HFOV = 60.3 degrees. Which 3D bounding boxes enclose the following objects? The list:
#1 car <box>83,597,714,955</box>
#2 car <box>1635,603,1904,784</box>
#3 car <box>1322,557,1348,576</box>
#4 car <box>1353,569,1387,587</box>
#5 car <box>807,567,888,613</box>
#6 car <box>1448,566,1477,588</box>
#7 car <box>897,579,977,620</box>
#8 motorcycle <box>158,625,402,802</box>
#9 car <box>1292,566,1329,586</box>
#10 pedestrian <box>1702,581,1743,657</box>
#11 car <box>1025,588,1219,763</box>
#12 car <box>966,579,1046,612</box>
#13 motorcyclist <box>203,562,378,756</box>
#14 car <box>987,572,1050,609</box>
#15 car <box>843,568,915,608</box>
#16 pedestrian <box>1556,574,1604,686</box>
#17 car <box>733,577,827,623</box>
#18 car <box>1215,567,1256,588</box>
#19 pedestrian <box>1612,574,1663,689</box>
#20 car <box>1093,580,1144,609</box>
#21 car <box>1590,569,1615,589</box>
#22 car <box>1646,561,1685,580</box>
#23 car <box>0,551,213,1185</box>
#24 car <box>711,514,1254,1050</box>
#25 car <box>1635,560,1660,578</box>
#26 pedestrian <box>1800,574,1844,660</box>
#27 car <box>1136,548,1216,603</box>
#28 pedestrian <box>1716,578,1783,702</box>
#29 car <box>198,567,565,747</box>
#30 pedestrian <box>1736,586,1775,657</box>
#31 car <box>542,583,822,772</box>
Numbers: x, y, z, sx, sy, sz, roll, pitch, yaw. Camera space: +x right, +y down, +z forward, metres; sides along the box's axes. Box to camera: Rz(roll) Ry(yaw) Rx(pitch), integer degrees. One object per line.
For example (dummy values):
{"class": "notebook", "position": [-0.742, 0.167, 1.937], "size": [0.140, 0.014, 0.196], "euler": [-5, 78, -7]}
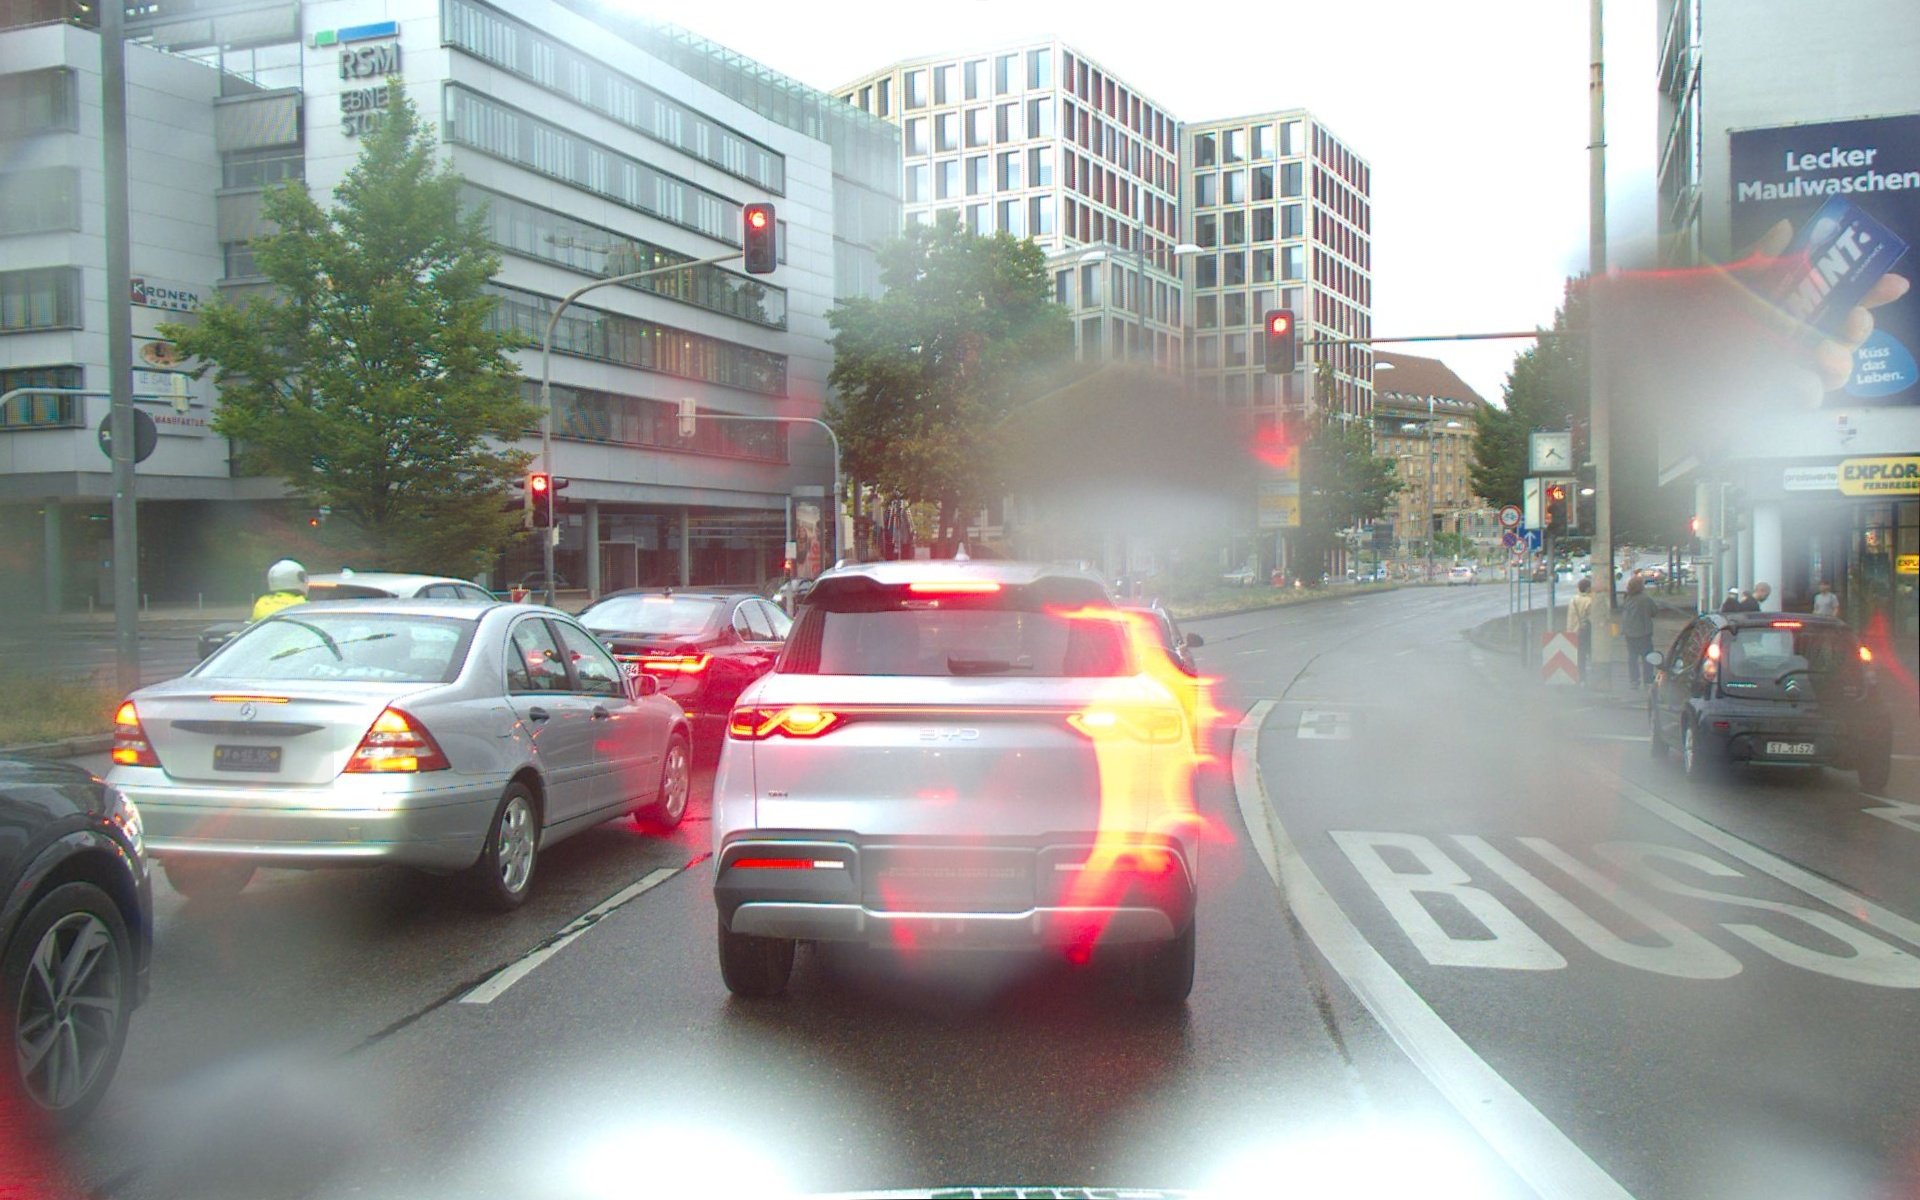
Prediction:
{"class": "car", "position": [-2.627, 0.726, 8.839], "size": [1.537, 1.432, 4.112], "euler": [1, 0, 7]}
{"class": "car", "position": [7.485, 0.781, 15.654], "size": [1.537, 1.454, 4.003], "euler": [1, 0, 15]}
{"class": "car", "position": [37.254, -3.298, 164.227], "size": [1.577, 1.771, 3.437], "euler": [1, 0, 31]}
{"class": "car", "position": [34.767, -1.889, 140.164], "size": [1.955, 1.514, 3.996], "euler": [0, 1, 27]}
{"class": "car", "position": [-3.991, -0.370, 59.360], "size": [1.609, 1.563, 4.155], "euler": [1, 0, 15]}
{"class": "car", "position": [39.325, -1.800, 129.434], "size": [1.849, 1.671, 4.000], "euler": [1, 1, 22]}
{"class": "car", "position": [-0.788, -0.001, 59.034], "size": [1.655, 1.409, 3.870], "euler": [1, 0, 18]}
{"class": "motorcycle", "position": [-5.135, 0.812, 12.666], "size": [0.783, 1.205, 2.030], "euler": [1, 0, 8]}
{"class": "car", "position": [27.864, -1.911, 131.515], "size": [1.955, 1.514, 3.996], "euler": [0, 1, 27]}
{"class": "pedestrian", "position": [17.130, 0.410, 37.139], "size": [0.659, 1.684, 0.649], "euler": [1, 0, 43]}
{"class": "car", "position": [1.741, 0.676, 16.655], "size": [1.657, 1.512, 4.003], "euler": [1, 0, 10]}
{"class": "car", "position": [2.302, -0.234, 81.352], "size": [1.779, 1.536, 5.189], "euler": [0, 1, 28]}
{"class": "motorcyclist", "position": [-5.102, 0.434, 12.679], "size": [0.753, 1.404, 1.119], "euler": [1, 0, 8]}
{"class": "car", "position": [2.671, -0.441, 74.546], "size": [1.610, 1.608, 4.086], "euler": [1, 0, 21]}
{"class": "car", "position": [-3.359, -0.499, 69.041], "size": [1.605, 1.598, 3.718], "euler": [1, 0, 22]}
{"class": "pedestrian", "position": [10.285, 0.481, 27.460], "size": [0.733, 1.829, 0.817], "euler": [0, 1, 20]}
{"class": "car", "position": [-6.668, -0.029, 61.767], "size": [1.952, 1.639, 4.001], "euler": [1, 1, 20]}
{"class": "car", "position": [20.535, -1.656, 123.084], "size": [1.955, 1.514, 3.996], "euler": [0, 1, 27]}
{"class": "pedestrian", "position": [11.017, 0.496, 26.908], "size": [0.733, 1.829, 0.817], "euler": [0, 1, 20]}
{"class": "car", "position": [9.059, -0.316, 94.294], "size": [1.598, 1.586, 4.592], "euler": [0, 1, 23]}
{"class": "car", "position": [68.401, -2.247, 176.162], "size": [2.376, 2.049, 4.578], "euler": [1, 1, 21]}
{"class": "car", "position": [77.956, -3.253, 182.756], "size": [3.908, 2.049, 1.998], "euler": [1, 0, 26]}
{"class": "car", "position": [-3.134, 0.653, 3.014], "size": [1.614, 1.548, 4.271], "euler": [1, 1, 0]}
{"class": "car", "position": [0.117, 0.595, 7.366], "size": [1.739, 1.708, 4.000], "euler": [1, 0, 1]}
{"class": "car", "position": [62.900, -2.817, 151.300], "size": [1.662, 1.512, 3.993], "euler": [1, 0, 29]}
{"class": "pedestrian", "position": [18.698, 0.356, 35.878], "size": [0.659, 1.825, 0.768], "euler": [1, 0, 43]}
{"class": "car", "position": [8.571, -0.942, 65.155], "size": [1.953, 2.049, 4.848], "euler": [1, 0, 22]}
{"class": "pedestrian", "position": [11.418, 0.564, 23.936], "size": [0.753, 1.762, 0.597], "euler": [0, 0, 13]}
{"class": "car", "position": [-5.456, 0.492, 16.186], "size": [1.670, 1.512, 4.003], "euler": [1, 0, 9]}
{"class": "pedestrian", "position": [17.638, 0.470, 36.679], "size": [0.615, 1.570, 0.649], "euler": [1, 0, 43]}
{"class": "car", "position": [-2.436, 0.636, 15.475], "size": [1.537, 1.512, 4.003], "euler": [1, 0, 6]}
